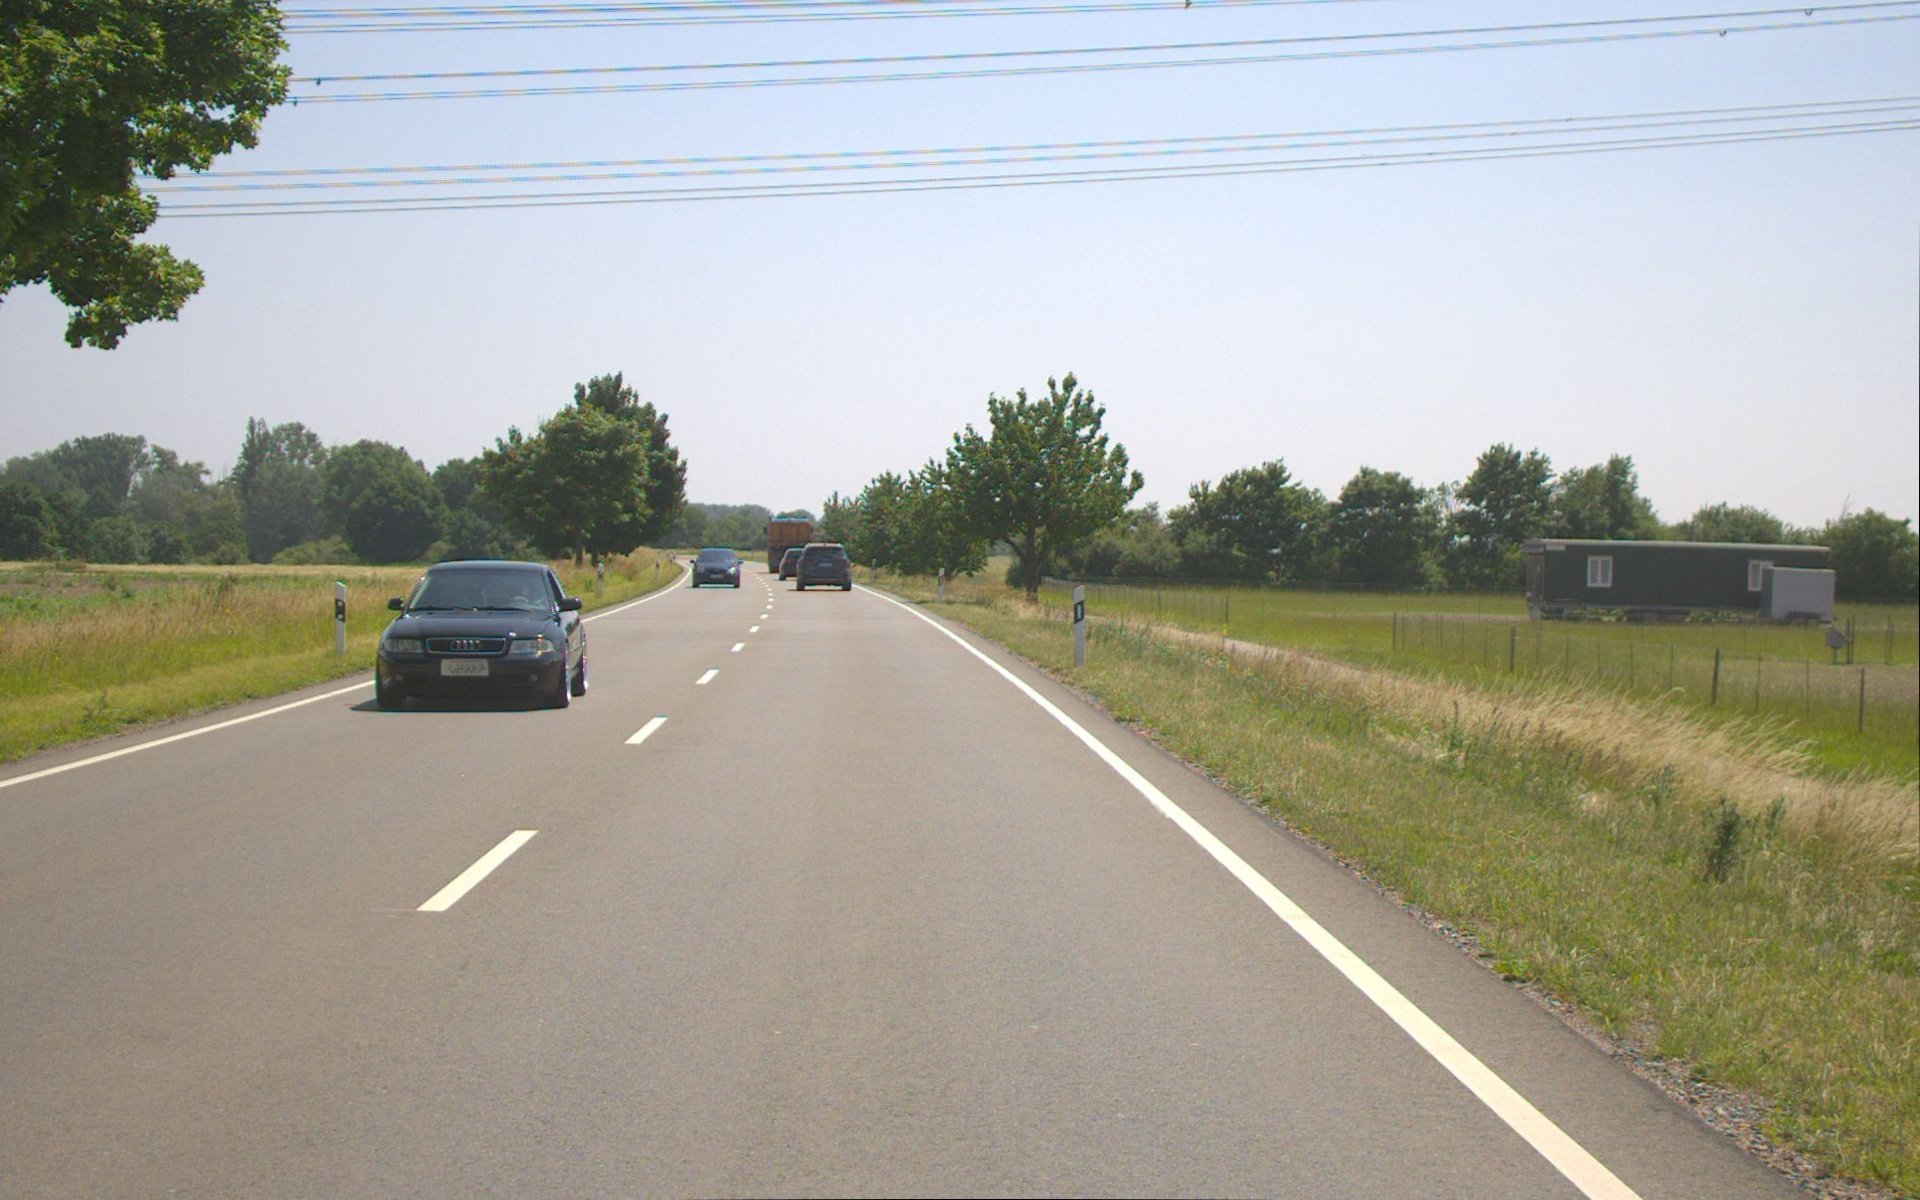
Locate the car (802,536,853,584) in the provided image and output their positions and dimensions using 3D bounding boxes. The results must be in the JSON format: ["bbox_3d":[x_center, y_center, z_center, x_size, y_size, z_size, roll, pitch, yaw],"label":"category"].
[{"bbox_3d":[-4.720,-1.420,122.196,1.714,1.688,3.989,1,1,-4],"label":"car"}]

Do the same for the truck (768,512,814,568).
[{"bbox_3d":[-9.855,-3.459,200.065,2.370,3.129,8.749,1,1,-5],"label":"truck"}]

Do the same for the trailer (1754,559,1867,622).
[{"bbox_3d":[34.937,-0.408,141.303,3.986,2.434,2.000,2,1,-6],"label":"trailer"}]

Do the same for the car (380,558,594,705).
[{"bbox_3d":[-4.528,0.270,33.374,1.705,1.328,4.000,1,1,-3],"label":"car"}]

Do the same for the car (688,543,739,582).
[{"bbox_3d":[-9.250,-1.416,129.185,1.734,1.442,4.000,1,1,-1],"label":"car"}]

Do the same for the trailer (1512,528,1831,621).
[{"bbox_3d":[29.723,-1.087,144.009,12.409,3.461,3.806,2,1,-4],"label":"trailer"}]

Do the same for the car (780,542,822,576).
[{"bbox_3d":[-7.319,-1.886,158.163,1.850,1.517,4.001,1,1,-4],"label":"car"}]
